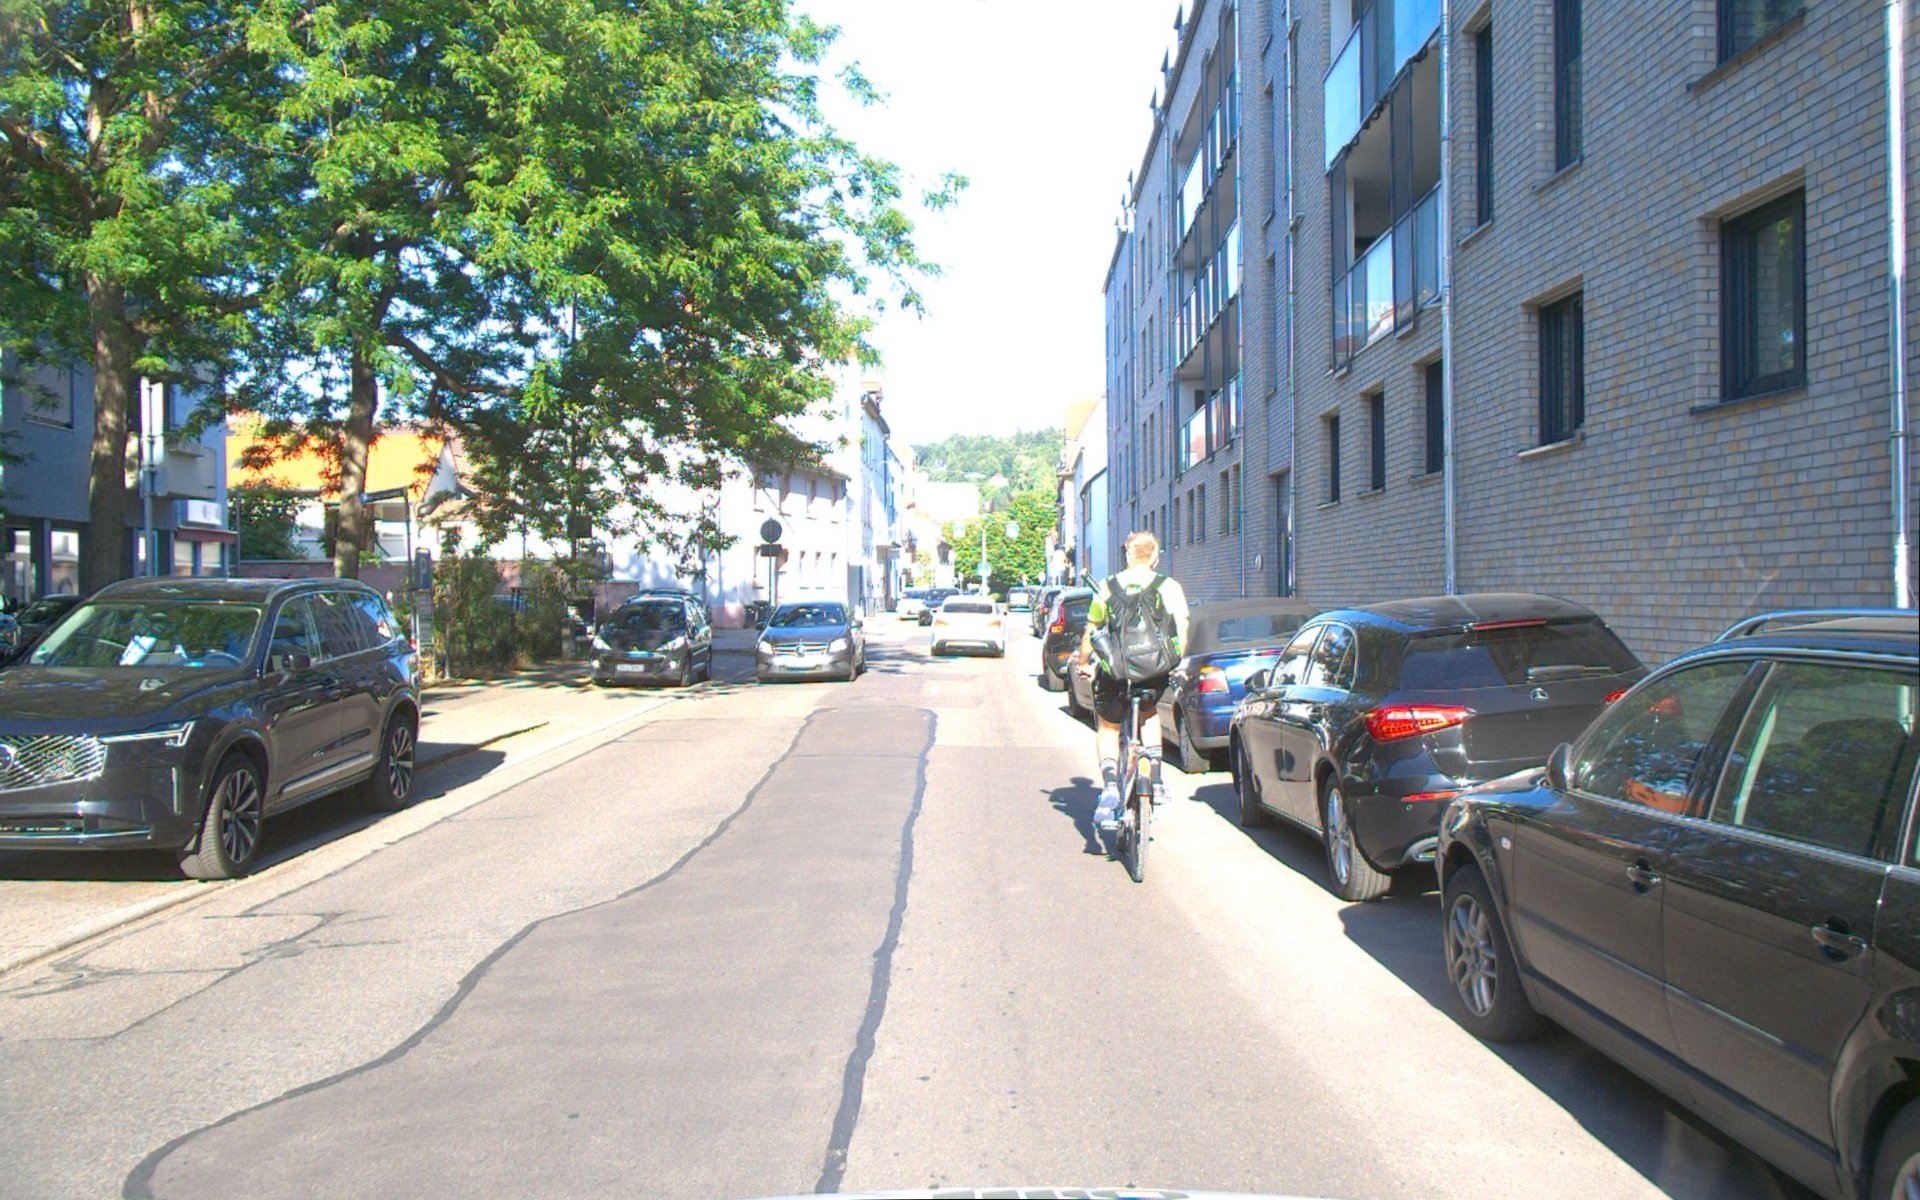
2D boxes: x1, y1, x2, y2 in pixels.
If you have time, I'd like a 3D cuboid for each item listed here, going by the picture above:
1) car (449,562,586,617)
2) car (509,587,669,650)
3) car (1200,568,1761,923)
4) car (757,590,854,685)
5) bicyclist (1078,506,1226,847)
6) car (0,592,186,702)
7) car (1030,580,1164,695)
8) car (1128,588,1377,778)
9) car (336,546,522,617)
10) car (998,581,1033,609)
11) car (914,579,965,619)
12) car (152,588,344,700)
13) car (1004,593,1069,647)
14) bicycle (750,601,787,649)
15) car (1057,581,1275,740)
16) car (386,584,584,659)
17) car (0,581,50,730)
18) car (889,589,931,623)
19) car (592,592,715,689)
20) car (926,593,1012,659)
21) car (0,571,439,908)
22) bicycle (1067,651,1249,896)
[{"bbox_3d":[-13.304,-0.326,49.913,3.830,1.603,1.706,-1,0,-10],"label":"car"},{"bbox_3d":[-9.745,0.464,43.608,3.821,1.603,1.710,0,0,0],"label":"car"},{"bbox_3d":[2.739,0.657,9.940,1.820,1.615,4.620,-1,0,-1],"label":"car"},{"bbox_3d":[-2.792,0.633,30.528,1.631,1.603,3.911,0,0,-3],"label":"car"},{"bbox_3d":[1.067,0.407,9.383,0.684,1.821,1.040,0,0,-2],"label":"bicyclist"},{"bbox_3d":[-14.369,0.715,27.046,1.821,1.614,3.669,1,1,-3],"label":"car"},{"bbox_3d":[2.306,0.598,29.001,1.820,1.731,4.621,-4,0,-1],"label":"car"},{"bbox_3d":[2.599,0.683,15.433,1.478,1.469,3.528,-4,0,-3],"label":"car"},{"bbox_3d":[-12.543,-0.433,39.196,3.819,1.603,1.710,0,0,2],"label":"car"},{"bbox_3d":[3.747,-0.367,111.564,1.817,1.823,4.603,0,0,-5],"label":"car"},{"bbox_3d":[-0.853,-0.055,72.760,1.905,1.614,4.623,-4,0,2],"label":"car"},{"bbox_3d":[-11.962,0.679,28.062,1.755,1.719,3.962,1,1,-4],"label":"car"},{"bbox_3d":[2.509,0.644,55.434,1.820,1.614,4.621,-4,0,-1],"label":"car"},{"bbox_3d":[-5.175,0.651,44.895,0.819,1.239,2.840,0,0,-3],"label":"bicycle"},{"bbox_3d":[2.383,0.653,20.325,1.821,1.614,4.619,-4,0,-3],"label":"car"},{"bbox_3d":[-10.445,0.463,36.484,3.818,1.603,1.711,0,0,5],"label":"car"},{"bbox_3d":[-11.261,0.610,16.794,1.822,1.614,4.616,1,1,-6],"label":"car"},{"bbox_3d":[-2.543,0.295,85.634,1.905,1.614,4.621,-4,0,0],"label":"car"},{"bbox_3d":[-5.443,0.675,29.762,1.670,1.603,3.911,0,0,-3],"label":"car"},{"bbox_3d":[0.168,0.608,40.179,1.806,1.517,4.141,0,0,-4],"label":"car"},{"bbox_3d":[-5.146,0.739,11.289,1.815,1.823,4.606,0,0,-1],"label":"car"},{"bbox_3d":[1.067,0.904,9.457,0.684,1.150,2.402,0,0,-2],"label":"bicycle"}]
